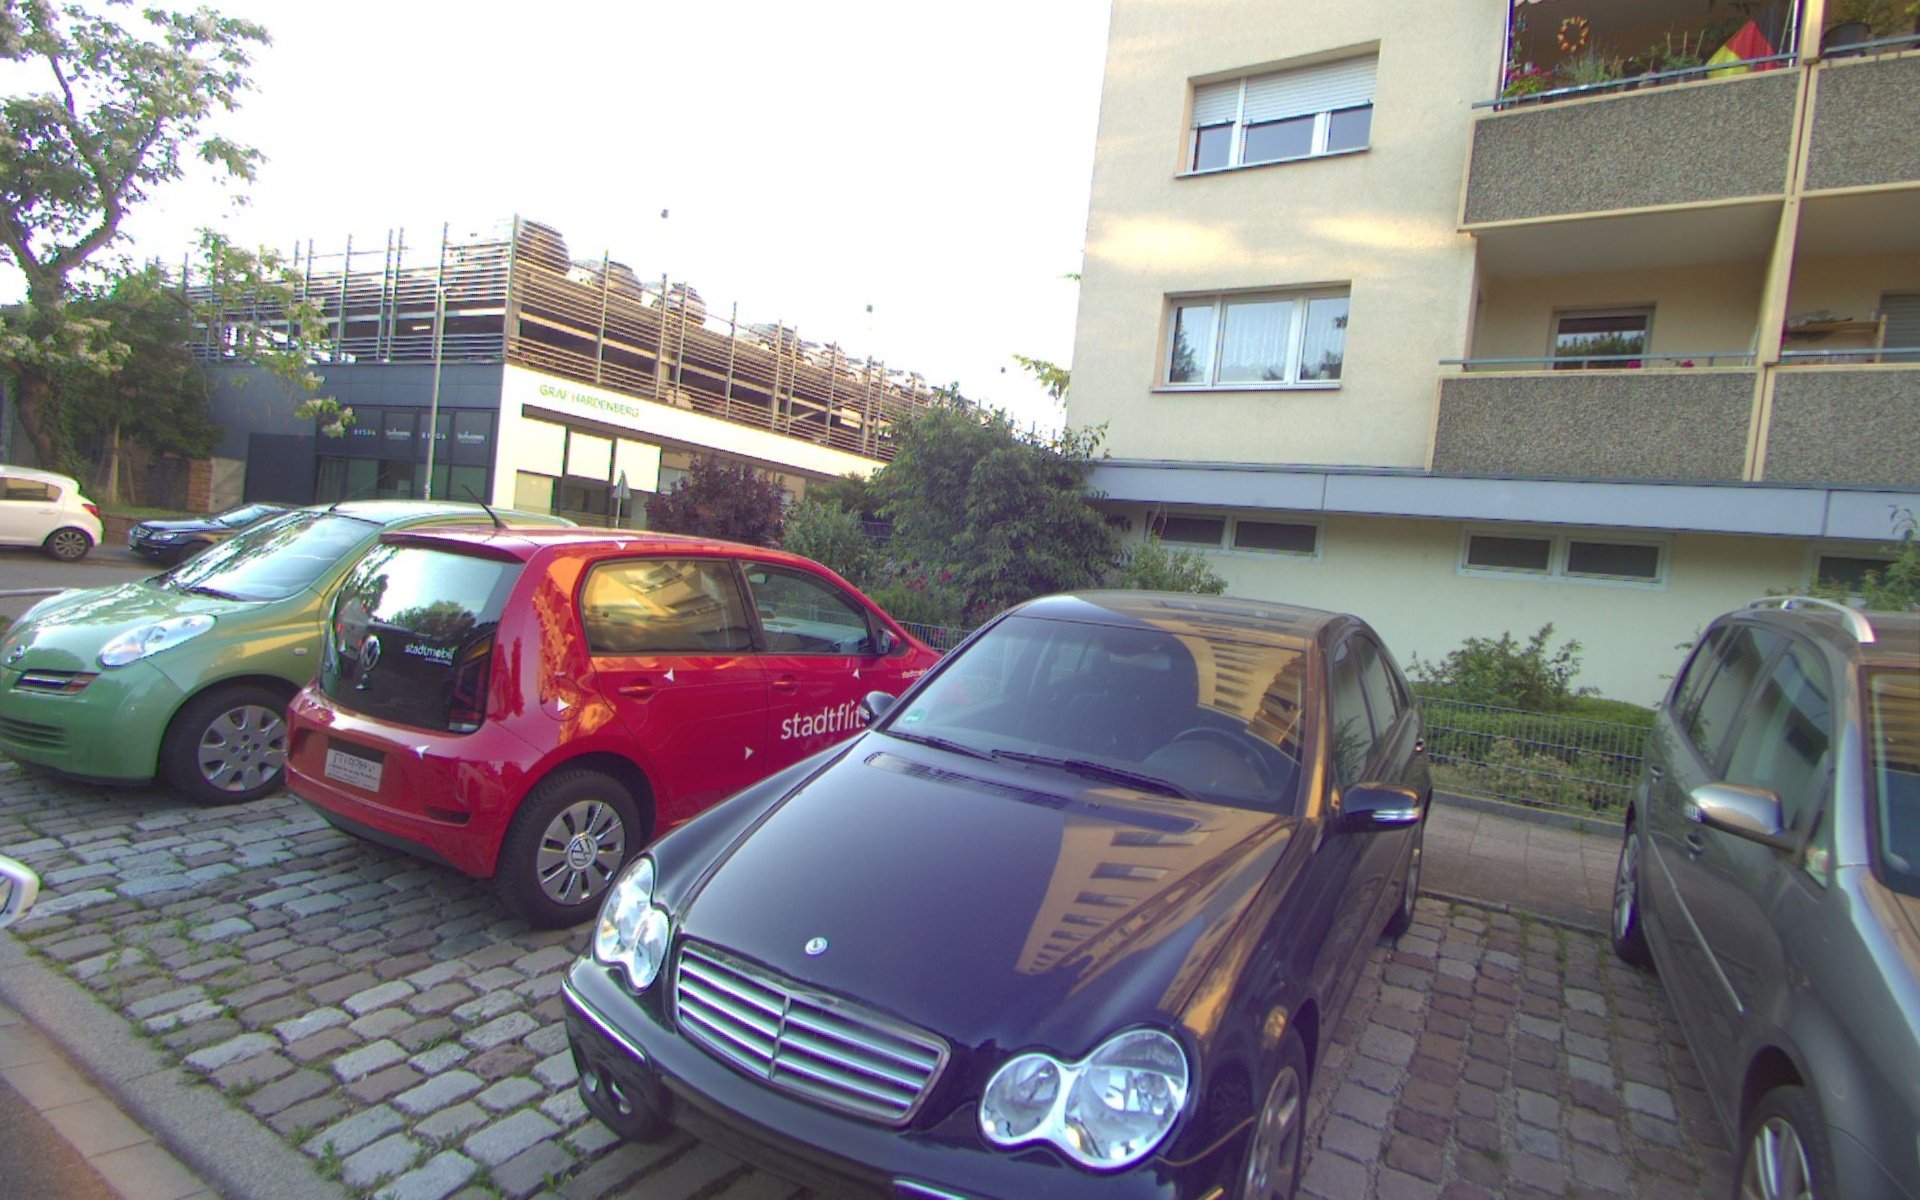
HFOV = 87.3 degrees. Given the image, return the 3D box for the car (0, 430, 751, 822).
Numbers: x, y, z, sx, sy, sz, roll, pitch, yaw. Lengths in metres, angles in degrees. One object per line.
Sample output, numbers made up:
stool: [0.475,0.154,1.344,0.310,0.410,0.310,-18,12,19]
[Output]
car: [-3.561,0.098,6.610,1.814,1.653,4.407,5,1,28]

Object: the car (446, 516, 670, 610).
car: [-8.118,-0.710,20.597,1.794,1.544,3.835,7,2,35]

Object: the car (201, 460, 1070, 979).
car: [-1.250,0.295,5.587,1.815,1.655,4.398,7,5,32]

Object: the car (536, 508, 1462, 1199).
car: [0.833,0.660,3.961,1.814,1.551,4.407,5,1,28]

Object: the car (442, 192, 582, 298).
car: [-13.505,-10.582,30.296,3.938,2.039,1.993,7,1,36]

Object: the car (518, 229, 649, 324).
car: [-12.190,-10.350,32.504,3.938,2.039,1.993,7,1,36]

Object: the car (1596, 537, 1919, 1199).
car: [3.110,0.800,2.798,1.814,1.684,4.405,5,3,28]

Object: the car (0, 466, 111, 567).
car: [-17.363,-1.603,17.180,1.924,1.594,3.861,7,1,28]

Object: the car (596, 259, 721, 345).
car: [-10.408,-10.164,34.623,3.938,2.039,1.993,7,1,36]

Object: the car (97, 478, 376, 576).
car: [-14.796,-1.451,20.795,1.794,1.523,4.290,7,2,35]

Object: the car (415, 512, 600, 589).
car: [-11.374,-1.214,25.486,1.794,1.523,3.835,7,2,35]
